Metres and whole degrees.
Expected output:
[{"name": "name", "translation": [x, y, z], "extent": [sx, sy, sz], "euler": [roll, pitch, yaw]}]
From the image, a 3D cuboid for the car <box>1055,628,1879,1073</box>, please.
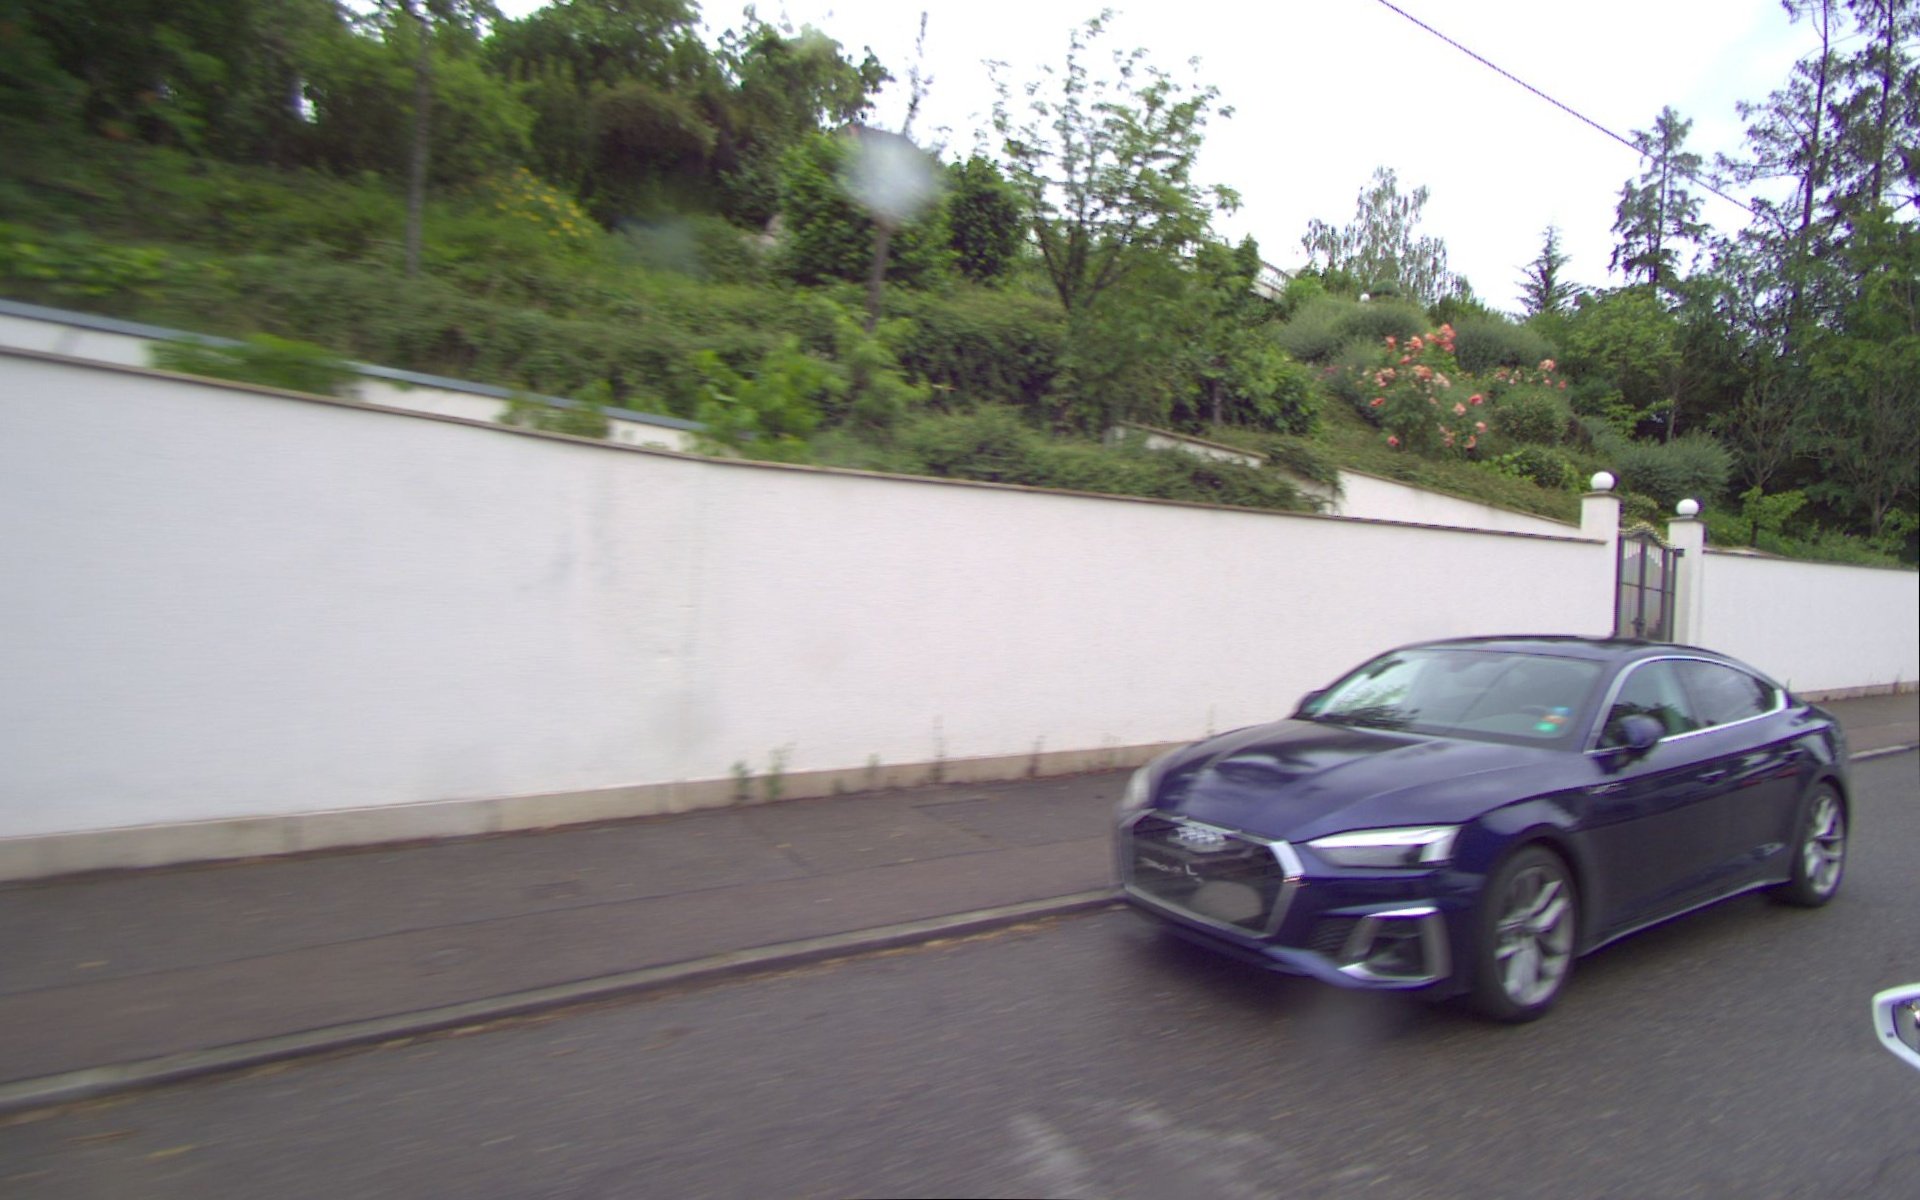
[{"name": "car", "translation": [2.740, 0.846, 5.093], "extent": [4.376, 1.376, 1.739], "euler": [1, -1, -32]}]
